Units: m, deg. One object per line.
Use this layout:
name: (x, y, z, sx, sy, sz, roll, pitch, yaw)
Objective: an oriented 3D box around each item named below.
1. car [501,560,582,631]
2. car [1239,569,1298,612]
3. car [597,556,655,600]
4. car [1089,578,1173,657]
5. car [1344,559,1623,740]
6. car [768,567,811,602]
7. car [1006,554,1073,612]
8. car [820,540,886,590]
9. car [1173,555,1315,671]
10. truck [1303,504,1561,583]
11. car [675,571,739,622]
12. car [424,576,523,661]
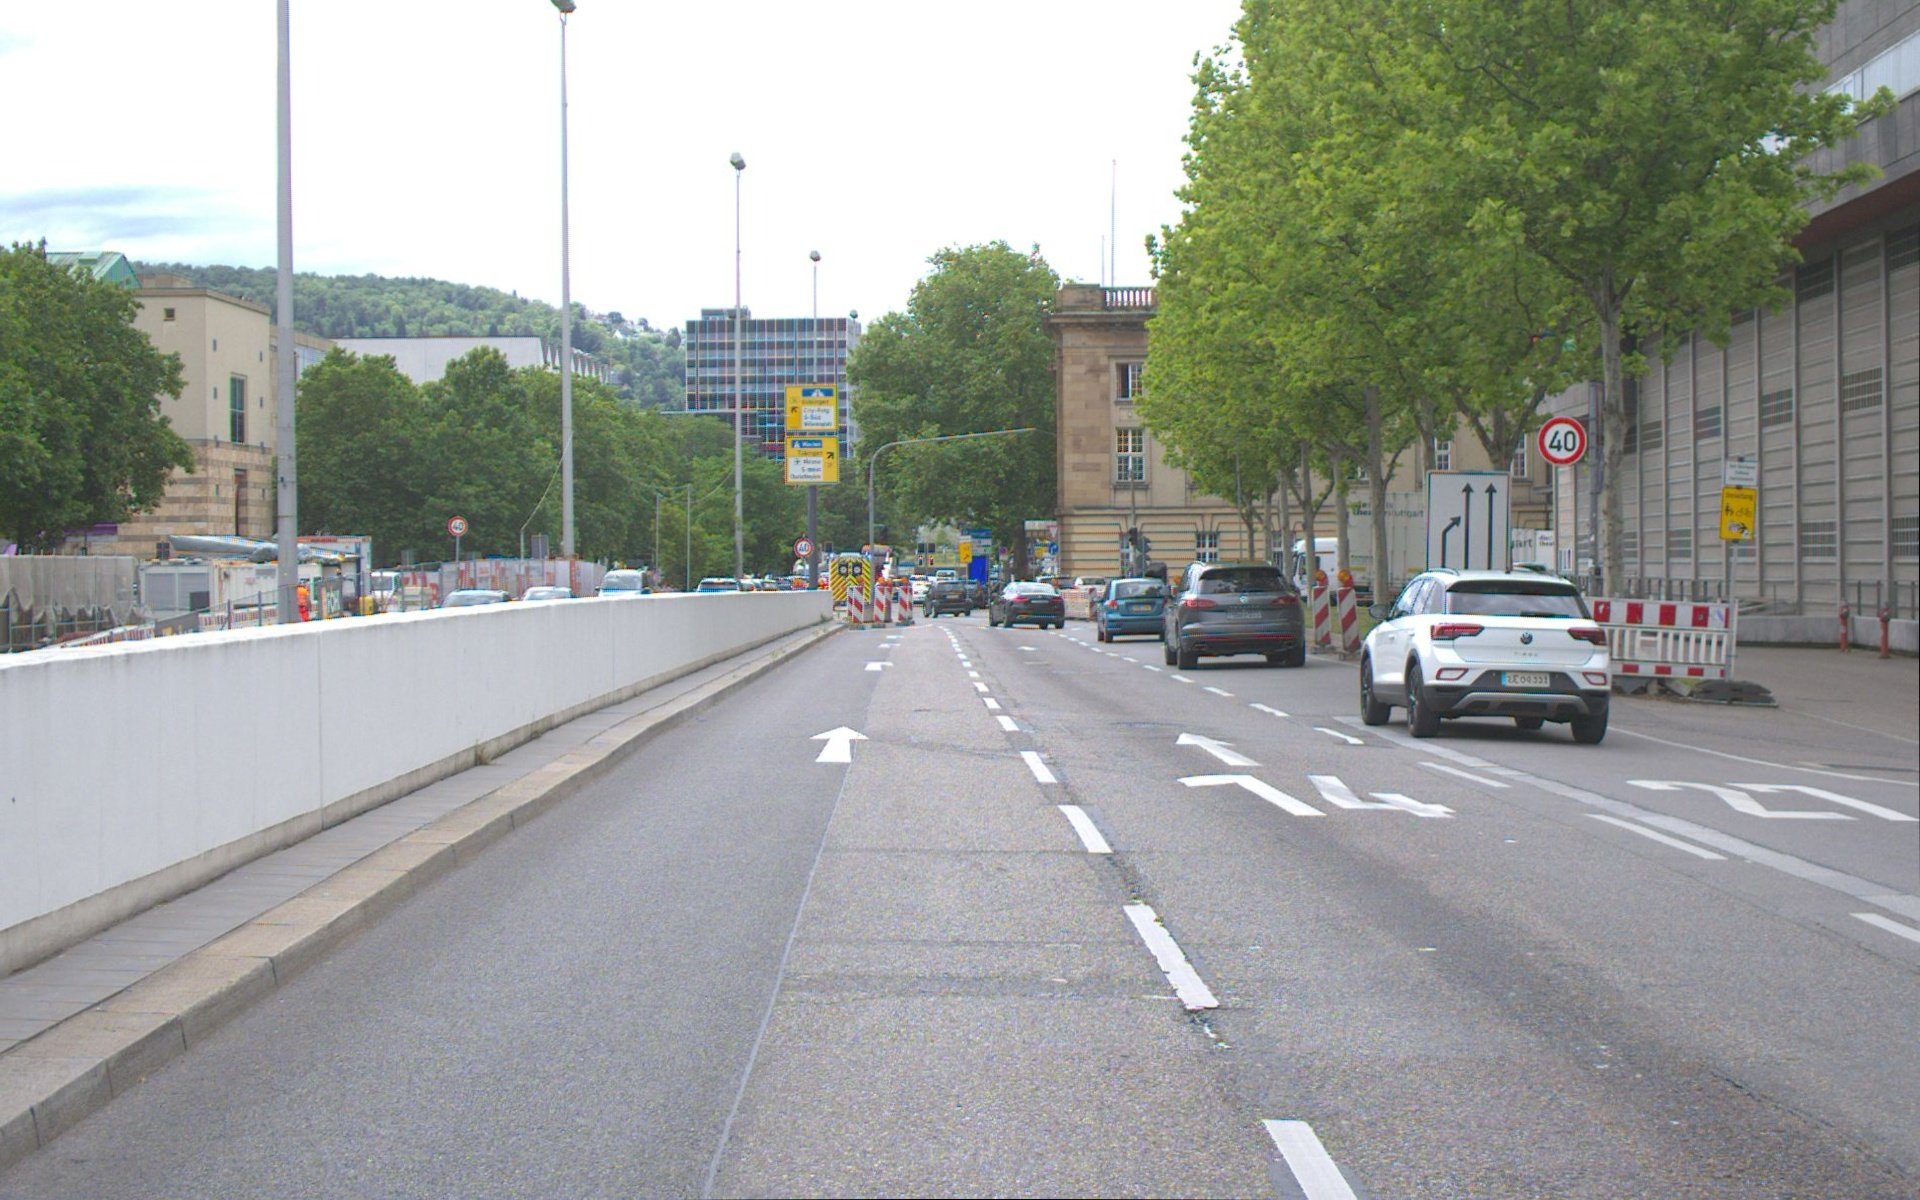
car: (-12.584, -0.154, 103.604, 1.993, 2.006, 4.001, 0, 2, -1)
car: (11.698, -0.356, 130.461, 1.856, 1.562, 4.331, 0, 0, 0)
car: (-12.502, -0.822, 128.802, 1.750, 1.562, 3.377, -3, 0, 1)
car: (4.025, 0.388, 80.307, 1.823, 1.735, 4.479, -1, 1, 4)
car: (4.909, 0.415, 32.801, 1.750, 1.562, 4.332, 1, 1, -3)
car: (-7.647, -0.696, 154.493, 1.750, 1.562, 4.331, 0, 0, 0)
car: (2.473, -0.537, 106.235, 1.823, 1.735, 4.479, -1, 1, 4)
car: (-5.154, -1.698, 166.314, 2.582, 2.366, 5.526, -1, 1, 4)
car: (4.454, 0.170, 54.514, 1.823, 1.562, 4.481, 1, 3, 0)
truck: (18.976, -2.258, 138.492, 10.029, 3.040, 2.569, 0, -1, 1)
car: (-8.338, -0.126, 113.480, 1.750, 1.562, 3.377, -3, 0, 1)
car: (-12.442, 0.455, 88.091, 1.993, 2.006, 4.001, 0, 2, -1)
